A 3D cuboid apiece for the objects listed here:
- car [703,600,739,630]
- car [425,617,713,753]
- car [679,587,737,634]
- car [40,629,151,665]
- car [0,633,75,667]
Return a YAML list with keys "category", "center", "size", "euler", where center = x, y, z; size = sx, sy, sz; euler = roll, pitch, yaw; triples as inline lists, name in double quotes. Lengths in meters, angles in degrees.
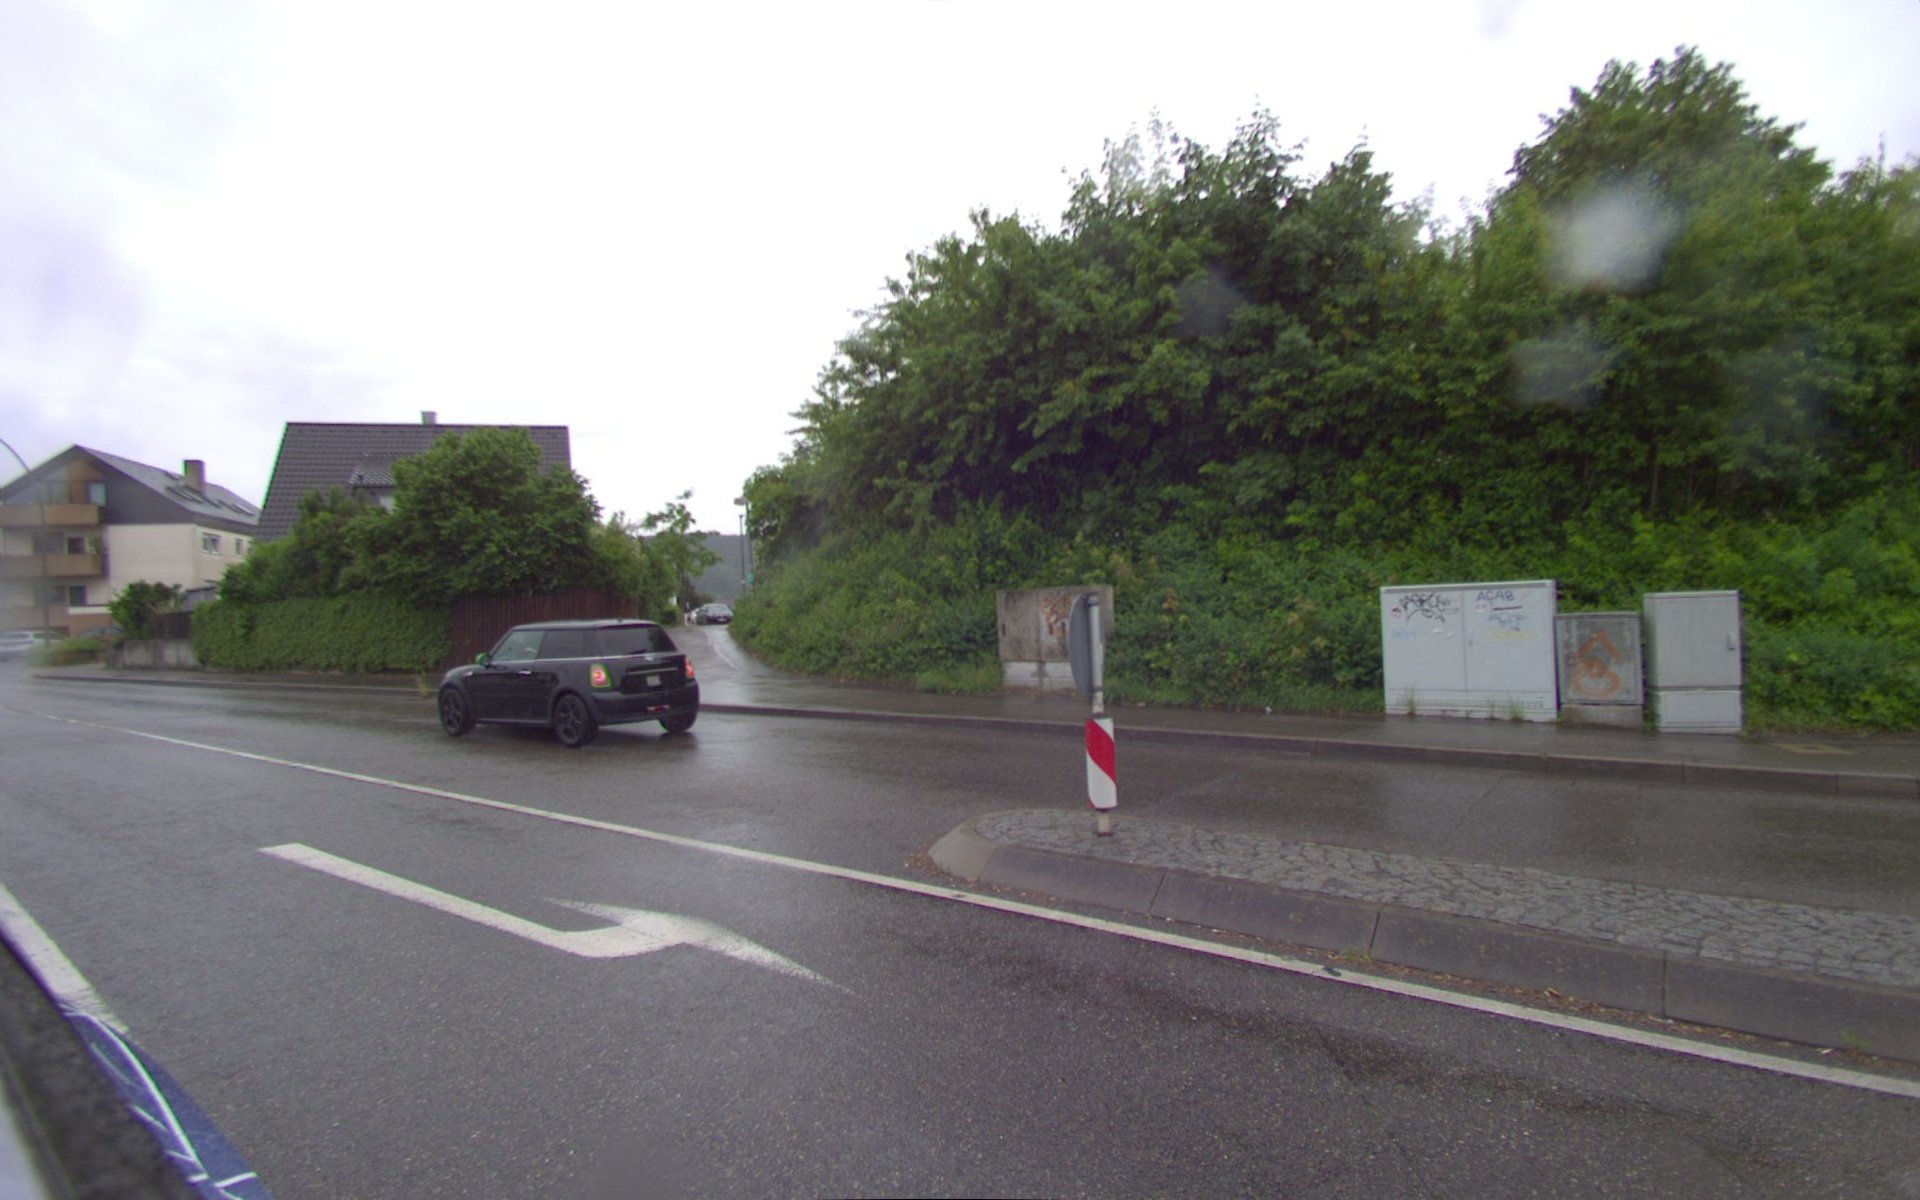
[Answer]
- category: "car"
  center: [-15.582, 0.951, 66.177]
  size: [1.968, 1.873, 4.008]
  euler: [-2, 0, -9]
- category: "car"
  center: [-4.835, 0.949, 12.397]
  size: [3.453, 1.397, 1.661]
  euler: [-2, 0, 35]
- category: "car"
  center: [-9.169, 0.373, 37.055]
  size: [1.683, 1.600, 3.668]
  euler: [-1, 0, -8]
- category: "car"
  center: [-41.346, 2.226, 48.489]
  size: [3.609, 1.530, 1.759]
  euler: [-2, 0, -15]
- category: "car"
  center: [-46.774, 2.508, 50.955]
  size: [1.837, 1.530, 4.012]
  euler: [-2, 0, -18]
